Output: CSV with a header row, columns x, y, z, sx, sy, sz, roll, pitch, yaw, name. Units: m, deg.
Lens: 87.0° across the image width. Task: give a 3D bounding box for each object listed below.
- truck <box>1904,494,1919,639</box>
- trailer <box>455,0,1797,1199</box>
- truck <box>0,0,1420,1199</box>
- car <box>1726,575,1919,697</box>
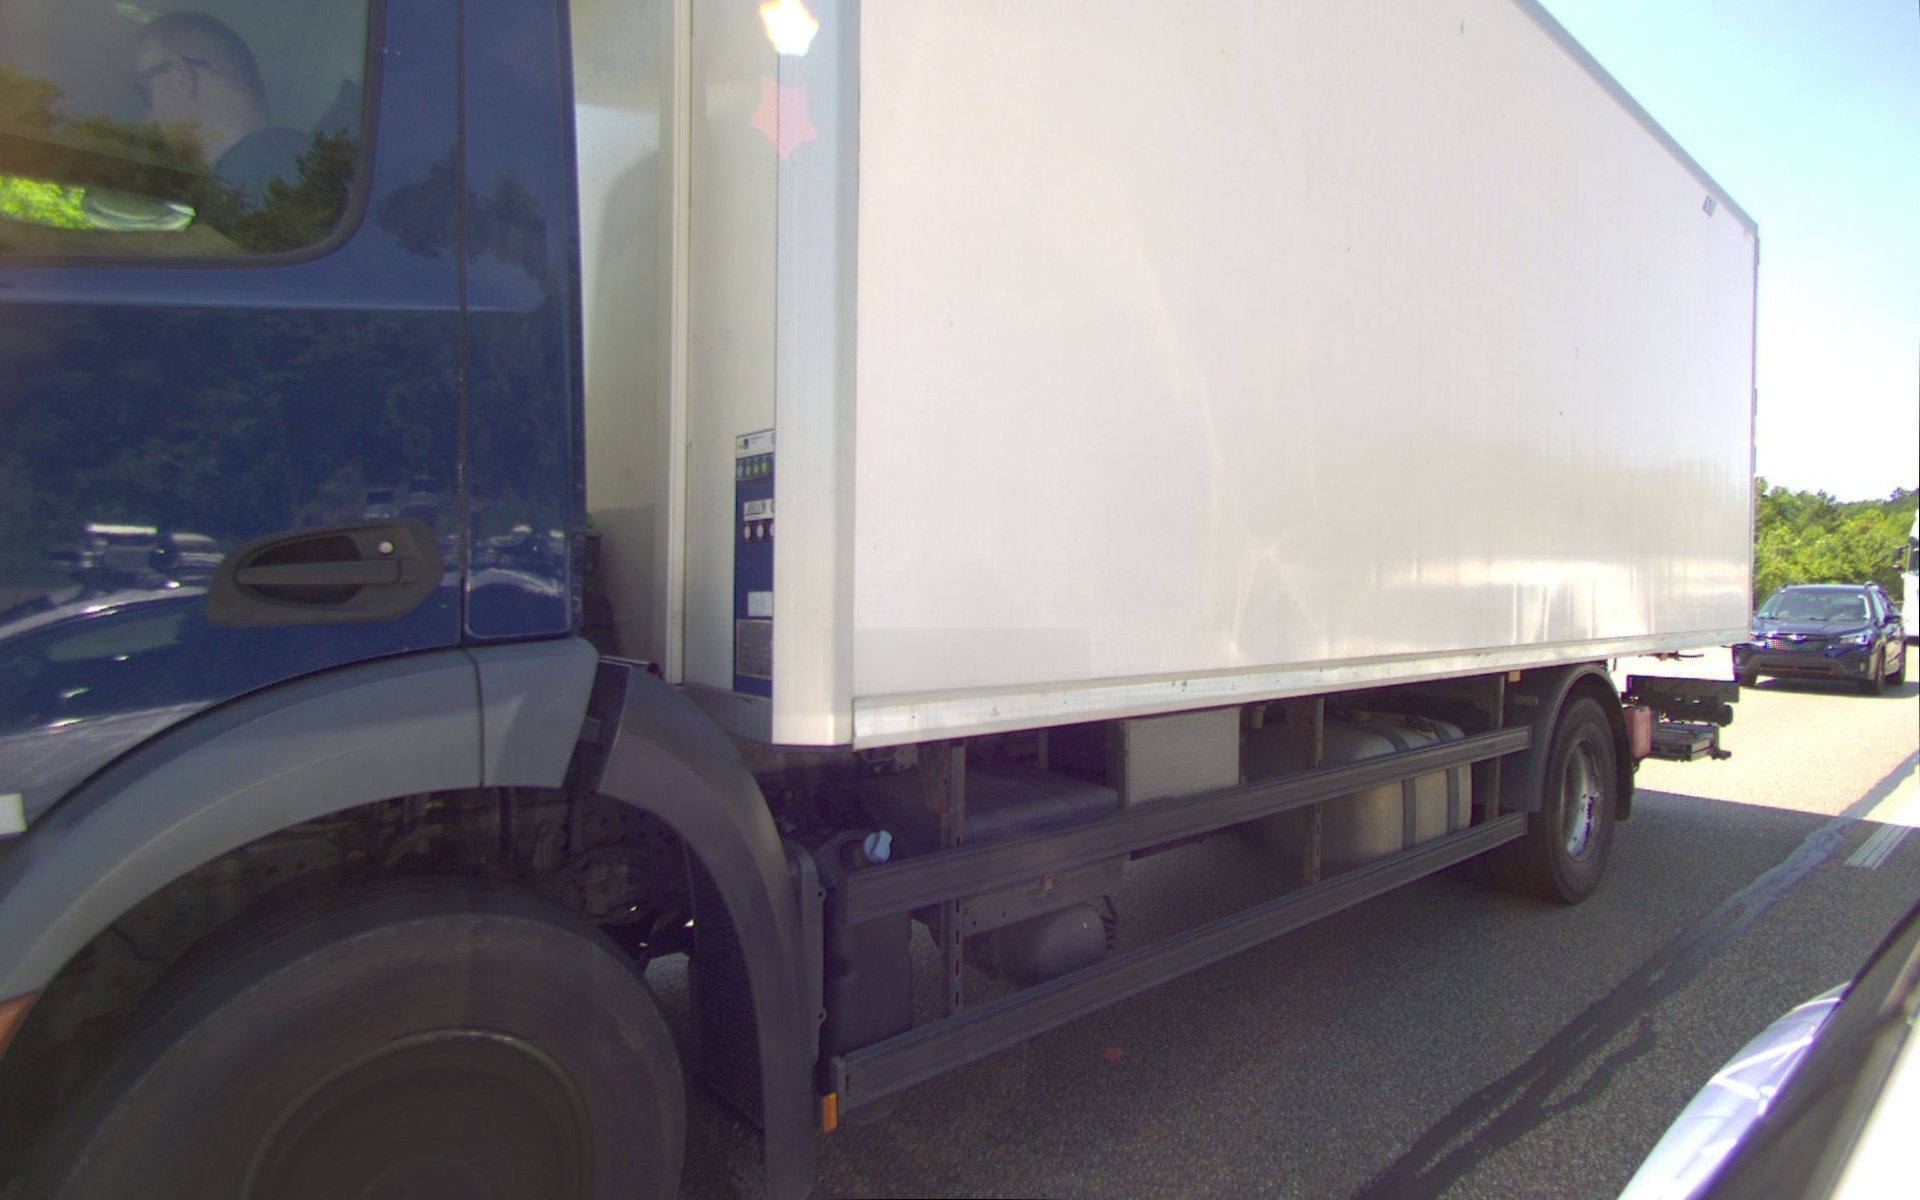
x,y,z,sx,sy,sz,roll,pitch,yaw,name
30.774,-1.016,30.350,7.205,4.135,2.765,-1,1,-40,truck
1.903,-0.162,5.263,7.744,2.936,2.560,0,0,-41,trailer
-0.968,-0.108,2.796,4.031,2.977,2.562,-1,2,-39,truck
14.428,0.458,16.792,4.534,1.713,1.996,-1,2,-43,car
